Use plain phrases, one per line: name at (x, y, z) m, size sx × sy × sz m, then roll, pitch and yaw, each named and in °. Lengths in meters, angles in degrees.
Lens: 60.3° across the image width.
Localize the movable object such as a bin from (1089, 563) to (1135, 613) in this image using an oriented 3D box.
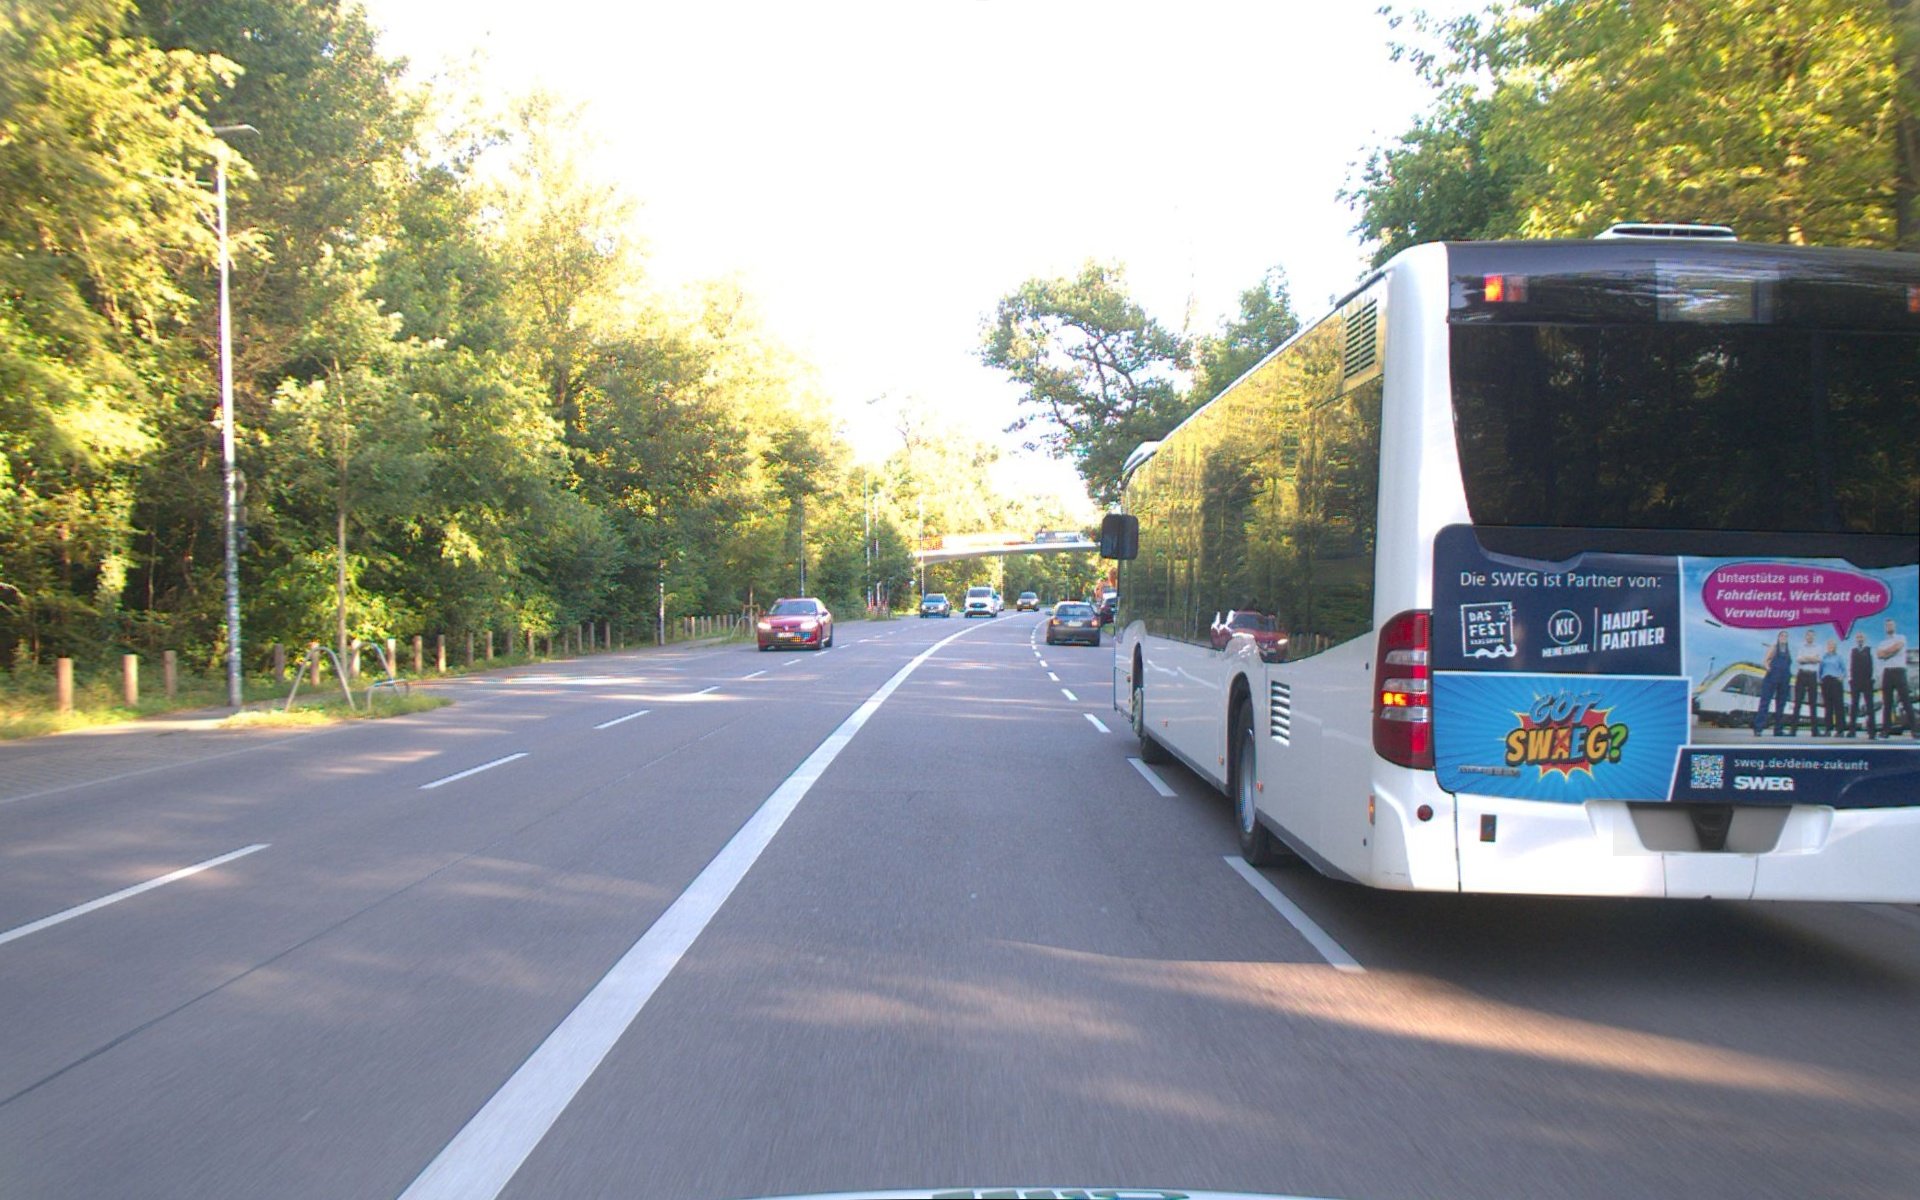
movable object such as a bin at (10.803, -0.845, 118.110) m, size 2.701 × 3.429 × 7.602 m, roll -1°, pitch 0°, yaw 2°

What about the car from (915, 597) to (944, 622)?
car at (-2.007, 0.596, 110.745) m, size 1.763 × 1.627 × 4.001 m, roll -1°, pitch 0°, yaw 2°

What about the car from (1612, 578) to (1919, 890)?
car at (5.848, 0.672, 10.131) m, size 1.815 × 1.612 × 4.722 m, roll -1°, pitch 0°, yaw 0°

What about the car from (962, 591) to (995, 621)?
car at (1.249, 0.380, 111.758) m, size 2.161 × 1.995 × 4.914 m, roll -1°, pitch 0°, yaw 1°

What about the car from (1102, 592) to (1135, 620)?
car at (9.002, 0.321, 94.074) m, size 1.691 × 1.569 × 4.091 m, roll -1°, pitch 0°, yaw 3°

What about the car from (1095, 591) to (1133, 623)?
car at (7.748, 0.324, 83.396) m, size 1.691 × 1.551 × 4.091 m, roll -1°, pitch 0°, yaw 3°

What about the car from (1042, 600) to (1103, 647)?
car at (3.666, 0.752, 54.530) m, size 1.692 × 1.467 × 4.089 m, roll -1°, pitch 0°, yaw 0°

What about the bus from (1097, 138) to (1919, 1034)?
bus at (2.866, -0.061, 12.215) m, size 2.649 × 3.278 × 12.278 m, roll 0°, pitch 0°, yaw 0°

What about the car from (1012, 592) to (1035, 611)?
car at (5.922, 0.137, 153.653) m, size 1.877 × 1.734 × 4.445 m, roll -1°, pitch 0°, yaw 5°

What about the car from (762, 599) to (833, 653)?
car at (-4.725, 0.736, 48.631) m, size 1.787 × 1.488 × 4.922 m, roll -1°, pitch 0°, yaw -2°
